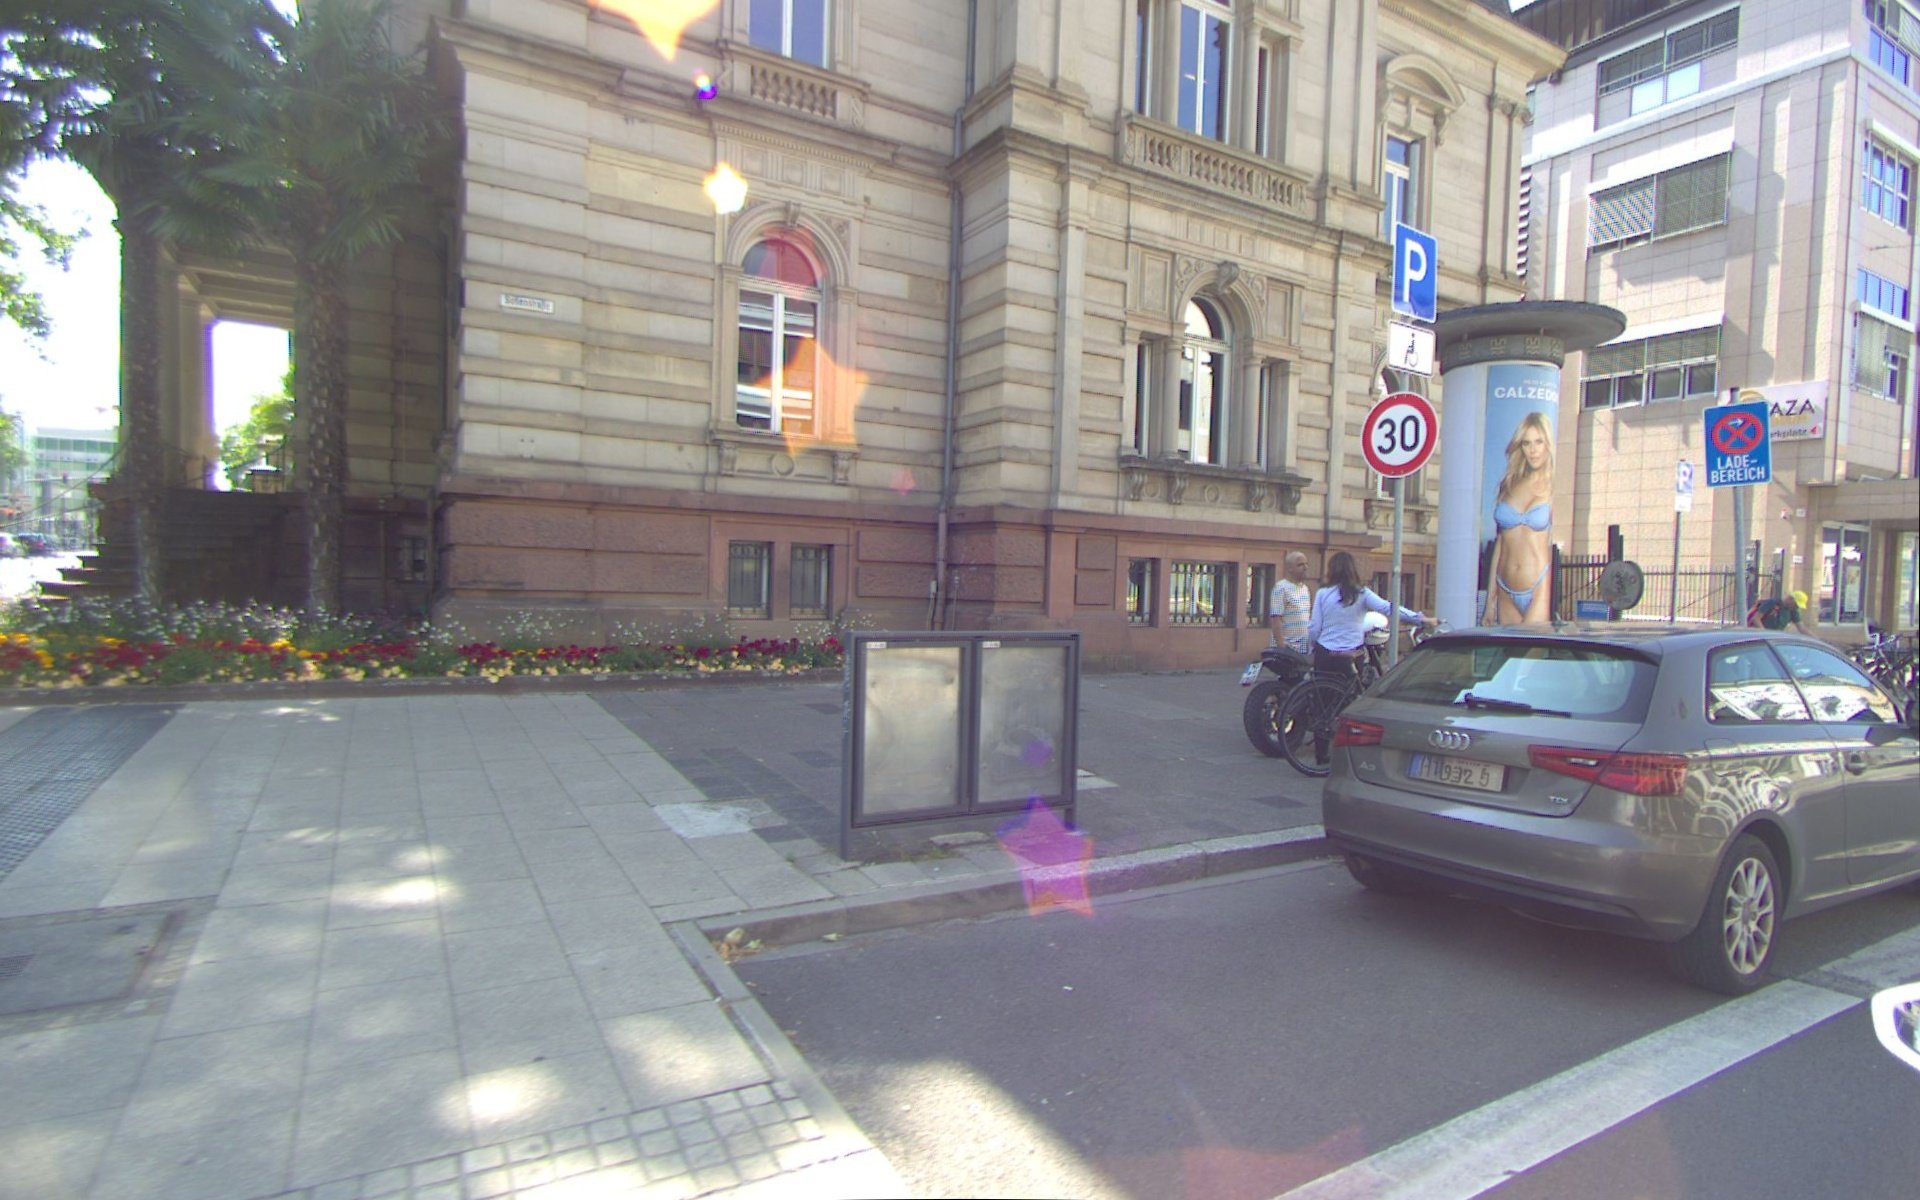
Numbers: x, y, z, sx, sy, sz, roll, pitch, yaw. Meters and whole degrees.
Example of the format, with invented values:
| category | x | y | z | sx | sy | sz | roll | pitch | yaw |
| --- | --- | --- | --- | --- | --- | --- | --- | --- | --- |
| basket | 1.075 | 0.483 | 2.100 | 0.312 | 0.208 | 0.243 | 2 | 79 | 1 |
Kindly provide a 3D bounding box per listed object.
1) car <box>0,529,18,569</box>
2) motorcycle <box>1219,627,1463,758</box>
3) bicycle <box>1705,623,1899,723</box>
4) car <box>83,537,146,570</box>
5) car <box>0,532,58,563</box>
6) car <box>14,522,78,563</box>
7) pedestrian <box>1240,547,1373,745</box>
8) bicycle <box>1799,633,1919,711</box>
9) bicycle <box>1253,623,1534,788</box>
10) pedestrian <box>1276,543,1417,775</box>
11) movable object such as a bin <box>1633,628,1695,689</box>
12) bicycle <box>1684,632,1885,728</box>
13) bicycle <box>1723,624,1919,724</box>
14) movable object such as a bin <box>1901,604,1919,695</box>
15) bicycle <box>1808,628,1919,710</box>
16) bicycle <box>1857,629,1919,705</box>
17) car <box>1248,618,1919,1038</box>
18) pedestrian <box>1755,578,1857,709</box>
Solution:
| category | x | y | z | sx | sy | sz | roll | pitch | yaw |
| --- | --- | --- | --- | --- | --- | --- | --- | --- | --- |
| car | -51.601 | -2.690 | 52.797 | 1.910 | 2.108 | 4.029 | 0 | 2 | -27 |
| motorcycle | 3.266 | 0.774 | 8.563 | 2.128 | 1.011 | 0.453 | 2 | 3 | -21 |
| bicycle | 11.635 | 0.971 | 13.948 | 0.552 | 1.135 | 1.942 | 1 | 3 | -41 |
| car | -48.431 | -2.676 | 57.640 | 1.827 | 1.758 | 4.029 | 0 | 3 | -27 |
| car | -54.903 | -3.066 | 58.935 | 1.910 | 1.722 | 4.029 | 0 | 2 | -27 |
| car | -57.032 | -3.570 | 62.746 | 1.910 | 2.366 | 4.029 | 0 | 2 | -27 |
| pedestrian | 3.078 | 0.404 | 8.952 | 0.923 | 1.687 | 0.548 | 2 | 1 | -22 |
| bicycle | 14.005 | 1.092 | 15.248 | 0.551 | 1.087 | 1.832 | 4 | -1 | -33 |
| bicycle | 3.334 | 0.808 | 7.676 | 2.209 | 1.135 | 0.429 | 3 | 2 | -20 |
| pedestrian | 3.027 | 0.443 | 7.890 | 0.682 | 1.717 | 0.692 | 2 | 1 | -28 |
| movable object such as a bin | 10.920 | 0.901 | 15.582 | 0.507 | 0.887 | 0.649 | 3 | 0 | -38 |
| bicycle | 11.050 | 1.033 | 13.530 | 0.666 | 1.031 | 1.945 | 1 | 3 | -41 |
| bicycle | 12.246 | 0.997 | 14.184 | 0.552 | 1.135 | 2.216 | 1 | 3 | -41 |
| movable object such as a bin | 16.335 | 0.830 | 16.192 | 1.345 | 1.470 | 1.205 | 0 | 4 | -24 |
| bicycle | 14.705 | 1.095 | 15.806 | 0.504 | 1.135 | 1.962 | 2 | 3 | -33 |
| bicycle | 15.451 | 1.098 | 15.747 | 0.504 | 1.135 | 1.955 | 2 | 2 | -33 |
| car | 3.765 | 0.819 | 5.349 | 4.199 | 1.372 | 1.927 | 0 | 1 | -30 |
| pedestrian | 11.854 | 0.583 | 14.087 | 0.741 | 1.748 | 0.882 | 1 | 2 | -36 |
